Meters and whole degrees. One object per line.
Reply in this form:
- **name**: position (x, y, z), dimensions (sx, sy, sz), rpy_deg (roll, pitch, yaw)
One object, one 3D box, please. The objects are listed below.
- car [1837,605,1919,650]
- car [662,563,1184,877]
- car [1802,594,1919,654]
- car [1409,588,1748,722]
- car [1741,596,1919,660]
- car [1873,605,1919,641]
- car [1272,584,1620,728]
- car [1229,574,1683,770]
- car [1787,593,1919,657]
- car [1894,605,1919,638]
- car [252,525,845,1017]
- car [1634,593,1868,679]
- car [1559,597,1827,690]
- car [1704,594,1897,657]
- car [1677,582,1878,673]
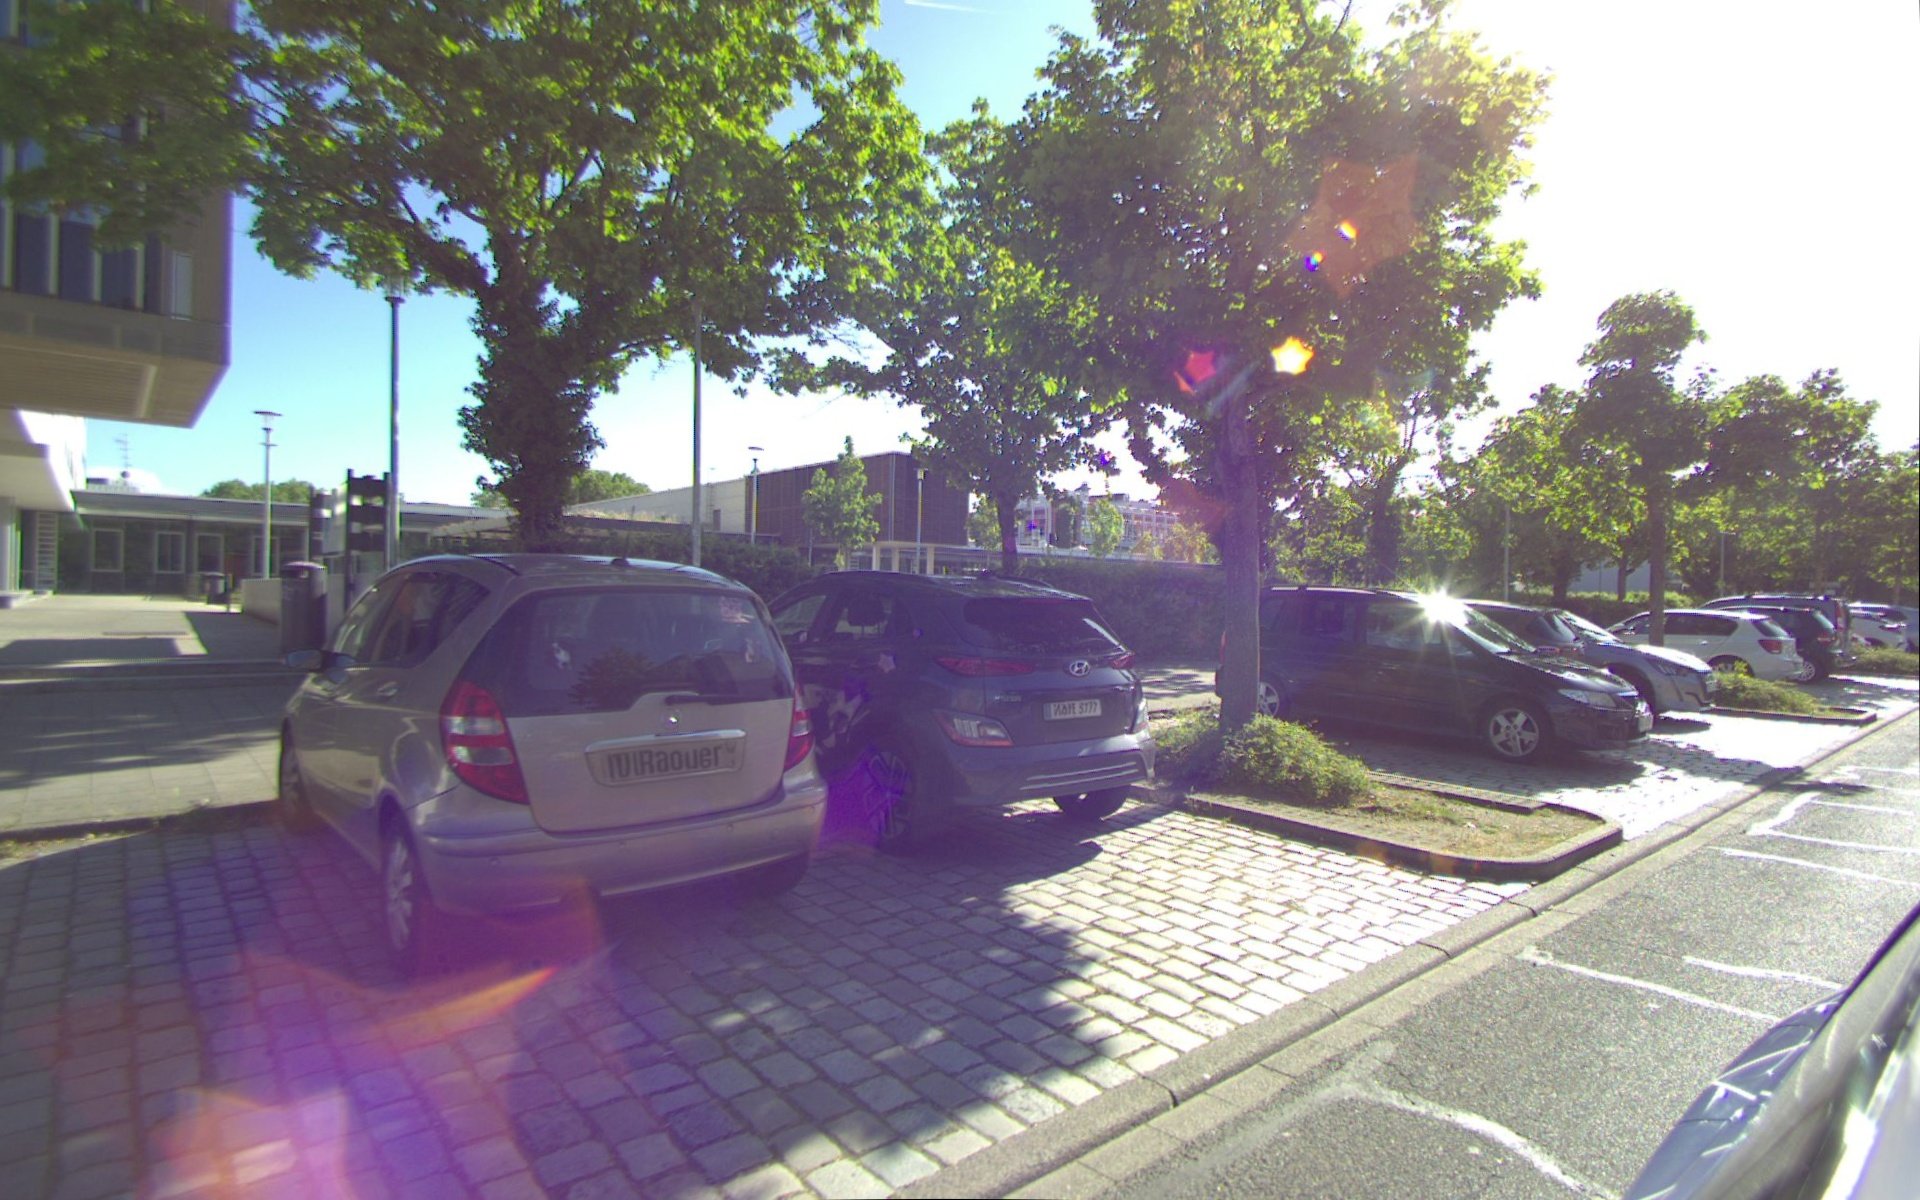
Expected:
- **car**: position (33.099, 0.973, 35.186), dimensions (1.647, 1.444, 3.715), rpy_deg (0, 1, -41)
- **car**: position (-0.490, 0.544, 6.972), dimensions (1.704, 1.532, 3.717), rpy_deg (1, 1, -39)
- **car**: position (28.527, 0.720, 31.220), dimensions (1.647, 1.692, 3.715), rpy_deg (0, 1, -41)
- **car**: position (8.494, 0.643, 14.142), dimensions (1.647, 1.532, 3.715), rpy_deg (0, 1, -41)
- **car**: position (24.183, 0.728, 28.074), dimensions (1.647, 1.544, 3.715), rpy_deg (0, 1, -41)
- **car**: position (41.500, 1.022, 43.101), dimensions (1.647, 1.444, 3.715), rpy_deg (0, 1, -41)
- **car**: position (6.172, 0.600, 13.164), dimensions (1.647, 1.532, 3.715), rpy_deg (0, 1, -41)
- **car**: position (5.018, 0.582, 10.657), dimensions (1.647, 1.620, 3.957), rpy_deg (0, 1, -42)
- **car**: position (26.433, 0.692, 29.239), dimensions (1.647, 1.692, 3.715), rpy_deg (0, 1, -41)
- **car**: position (43.607, 0.991, 44.377), dimensions (1.647, 1.444, 3.715), rpy_deg (0, 1, -41)
- **car**: position (-2.358, 0.494, 5.203), dimensions (1.647, 1.588, 3.713), rpy_deg (0, 1, -42)
- **car**: position (17.013, 0.700, 21.893), dimensions (1.647, 1.586, 3.715), rpy_deg (0, 1, -41)
- **car**: position (13.570, 0.724, 18.895), dimensions (1.701, 1.444, 3.759), rpy_deg (0, 1, -41)
- **car**: position (22.248, 0.613, 26.872), dimensions (1.647, 1.444, 3.715), rpy_deg (0, 1, -41)
- **car**: position (18.985, 0.569, 23.604), dimensions (1.667, 1.912, 3.389), rpy_deg (1, 1, -41)
